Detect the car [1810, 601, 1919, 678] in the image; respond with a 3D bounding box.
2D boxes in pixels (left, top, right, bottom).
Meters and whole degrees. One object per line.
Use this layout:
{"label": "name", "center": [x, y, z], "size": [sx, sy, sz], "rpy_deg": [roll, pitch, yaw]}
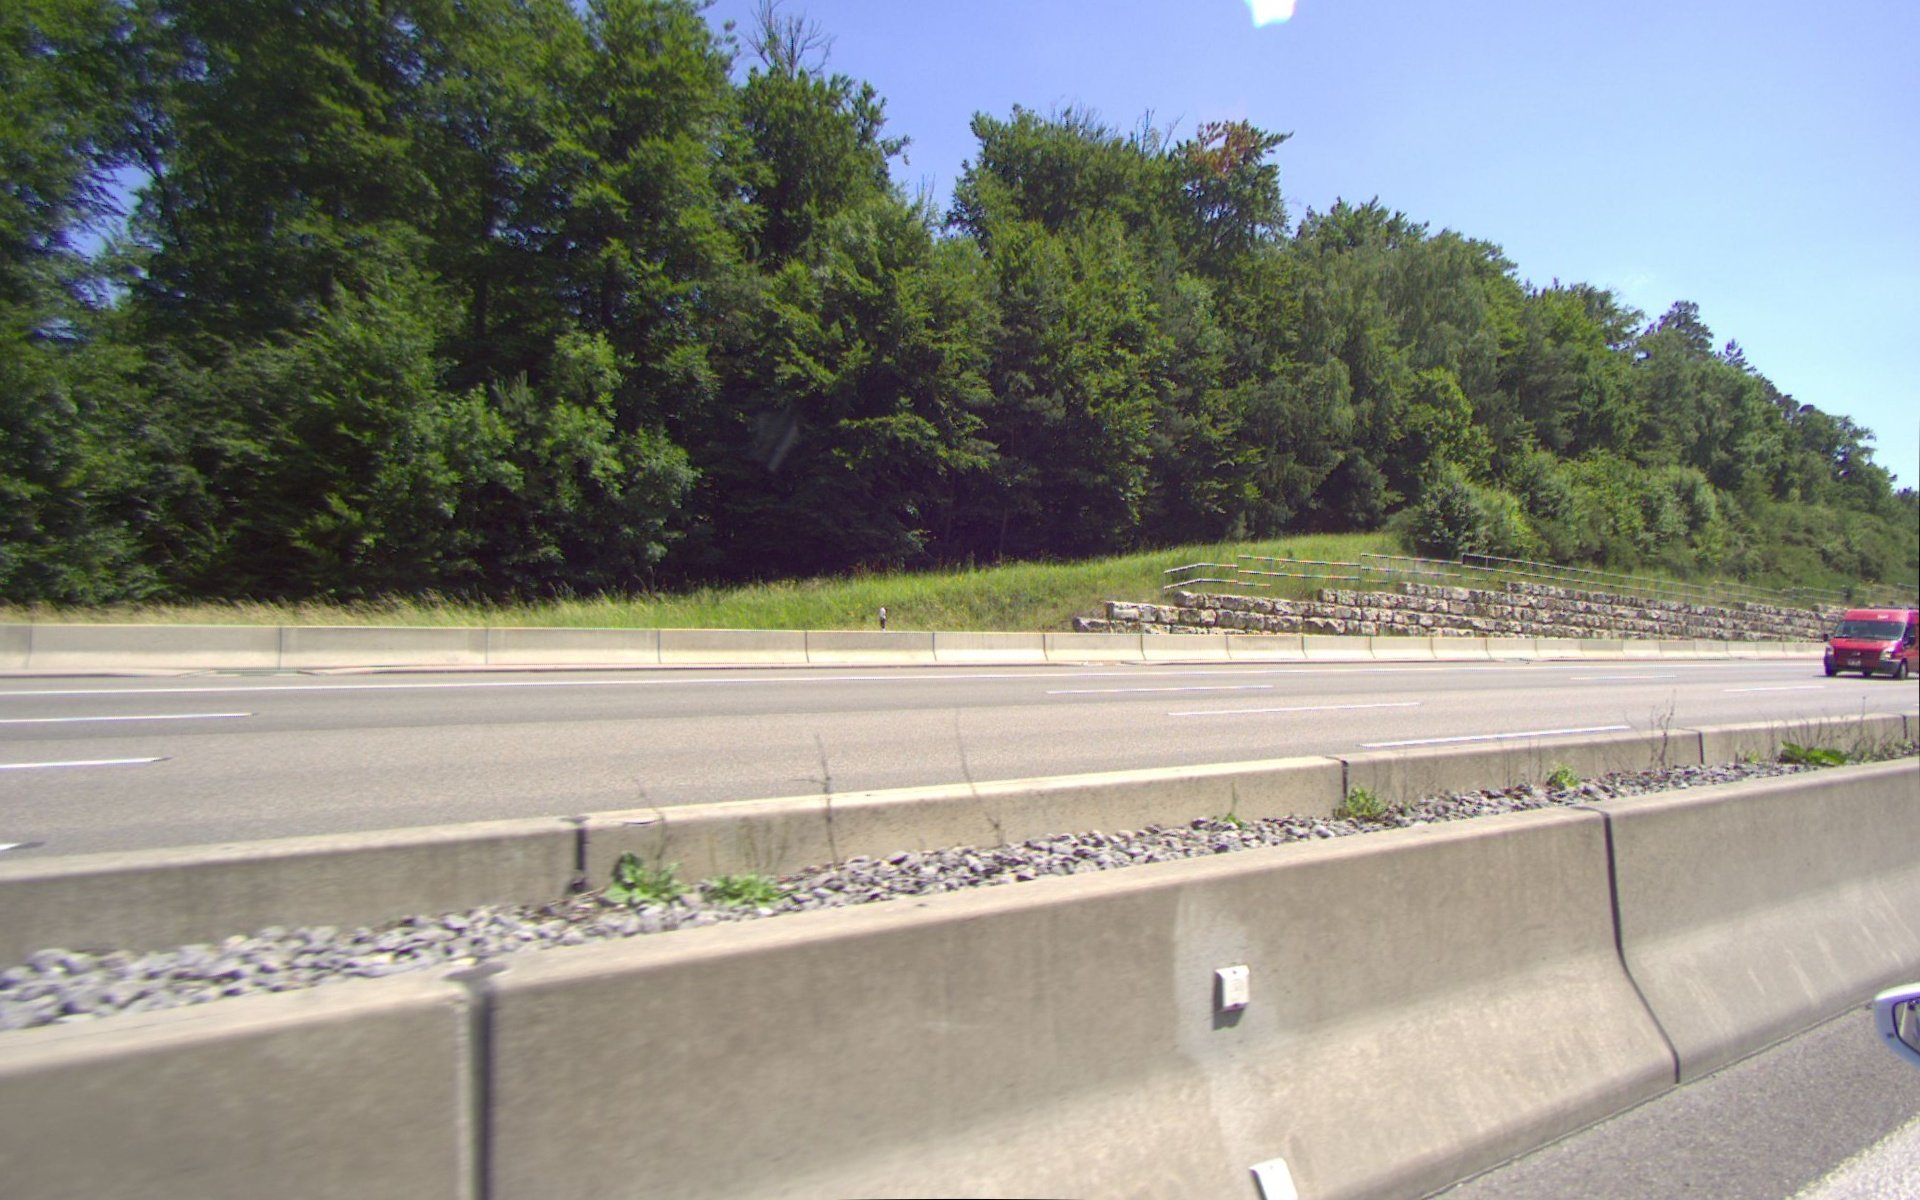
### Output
{"label": "car", "center": [30.839, 1.304, 33.598], "size": [5.479, 2.367, 1.984], "rpy_deg": [2, 0, -31]}
